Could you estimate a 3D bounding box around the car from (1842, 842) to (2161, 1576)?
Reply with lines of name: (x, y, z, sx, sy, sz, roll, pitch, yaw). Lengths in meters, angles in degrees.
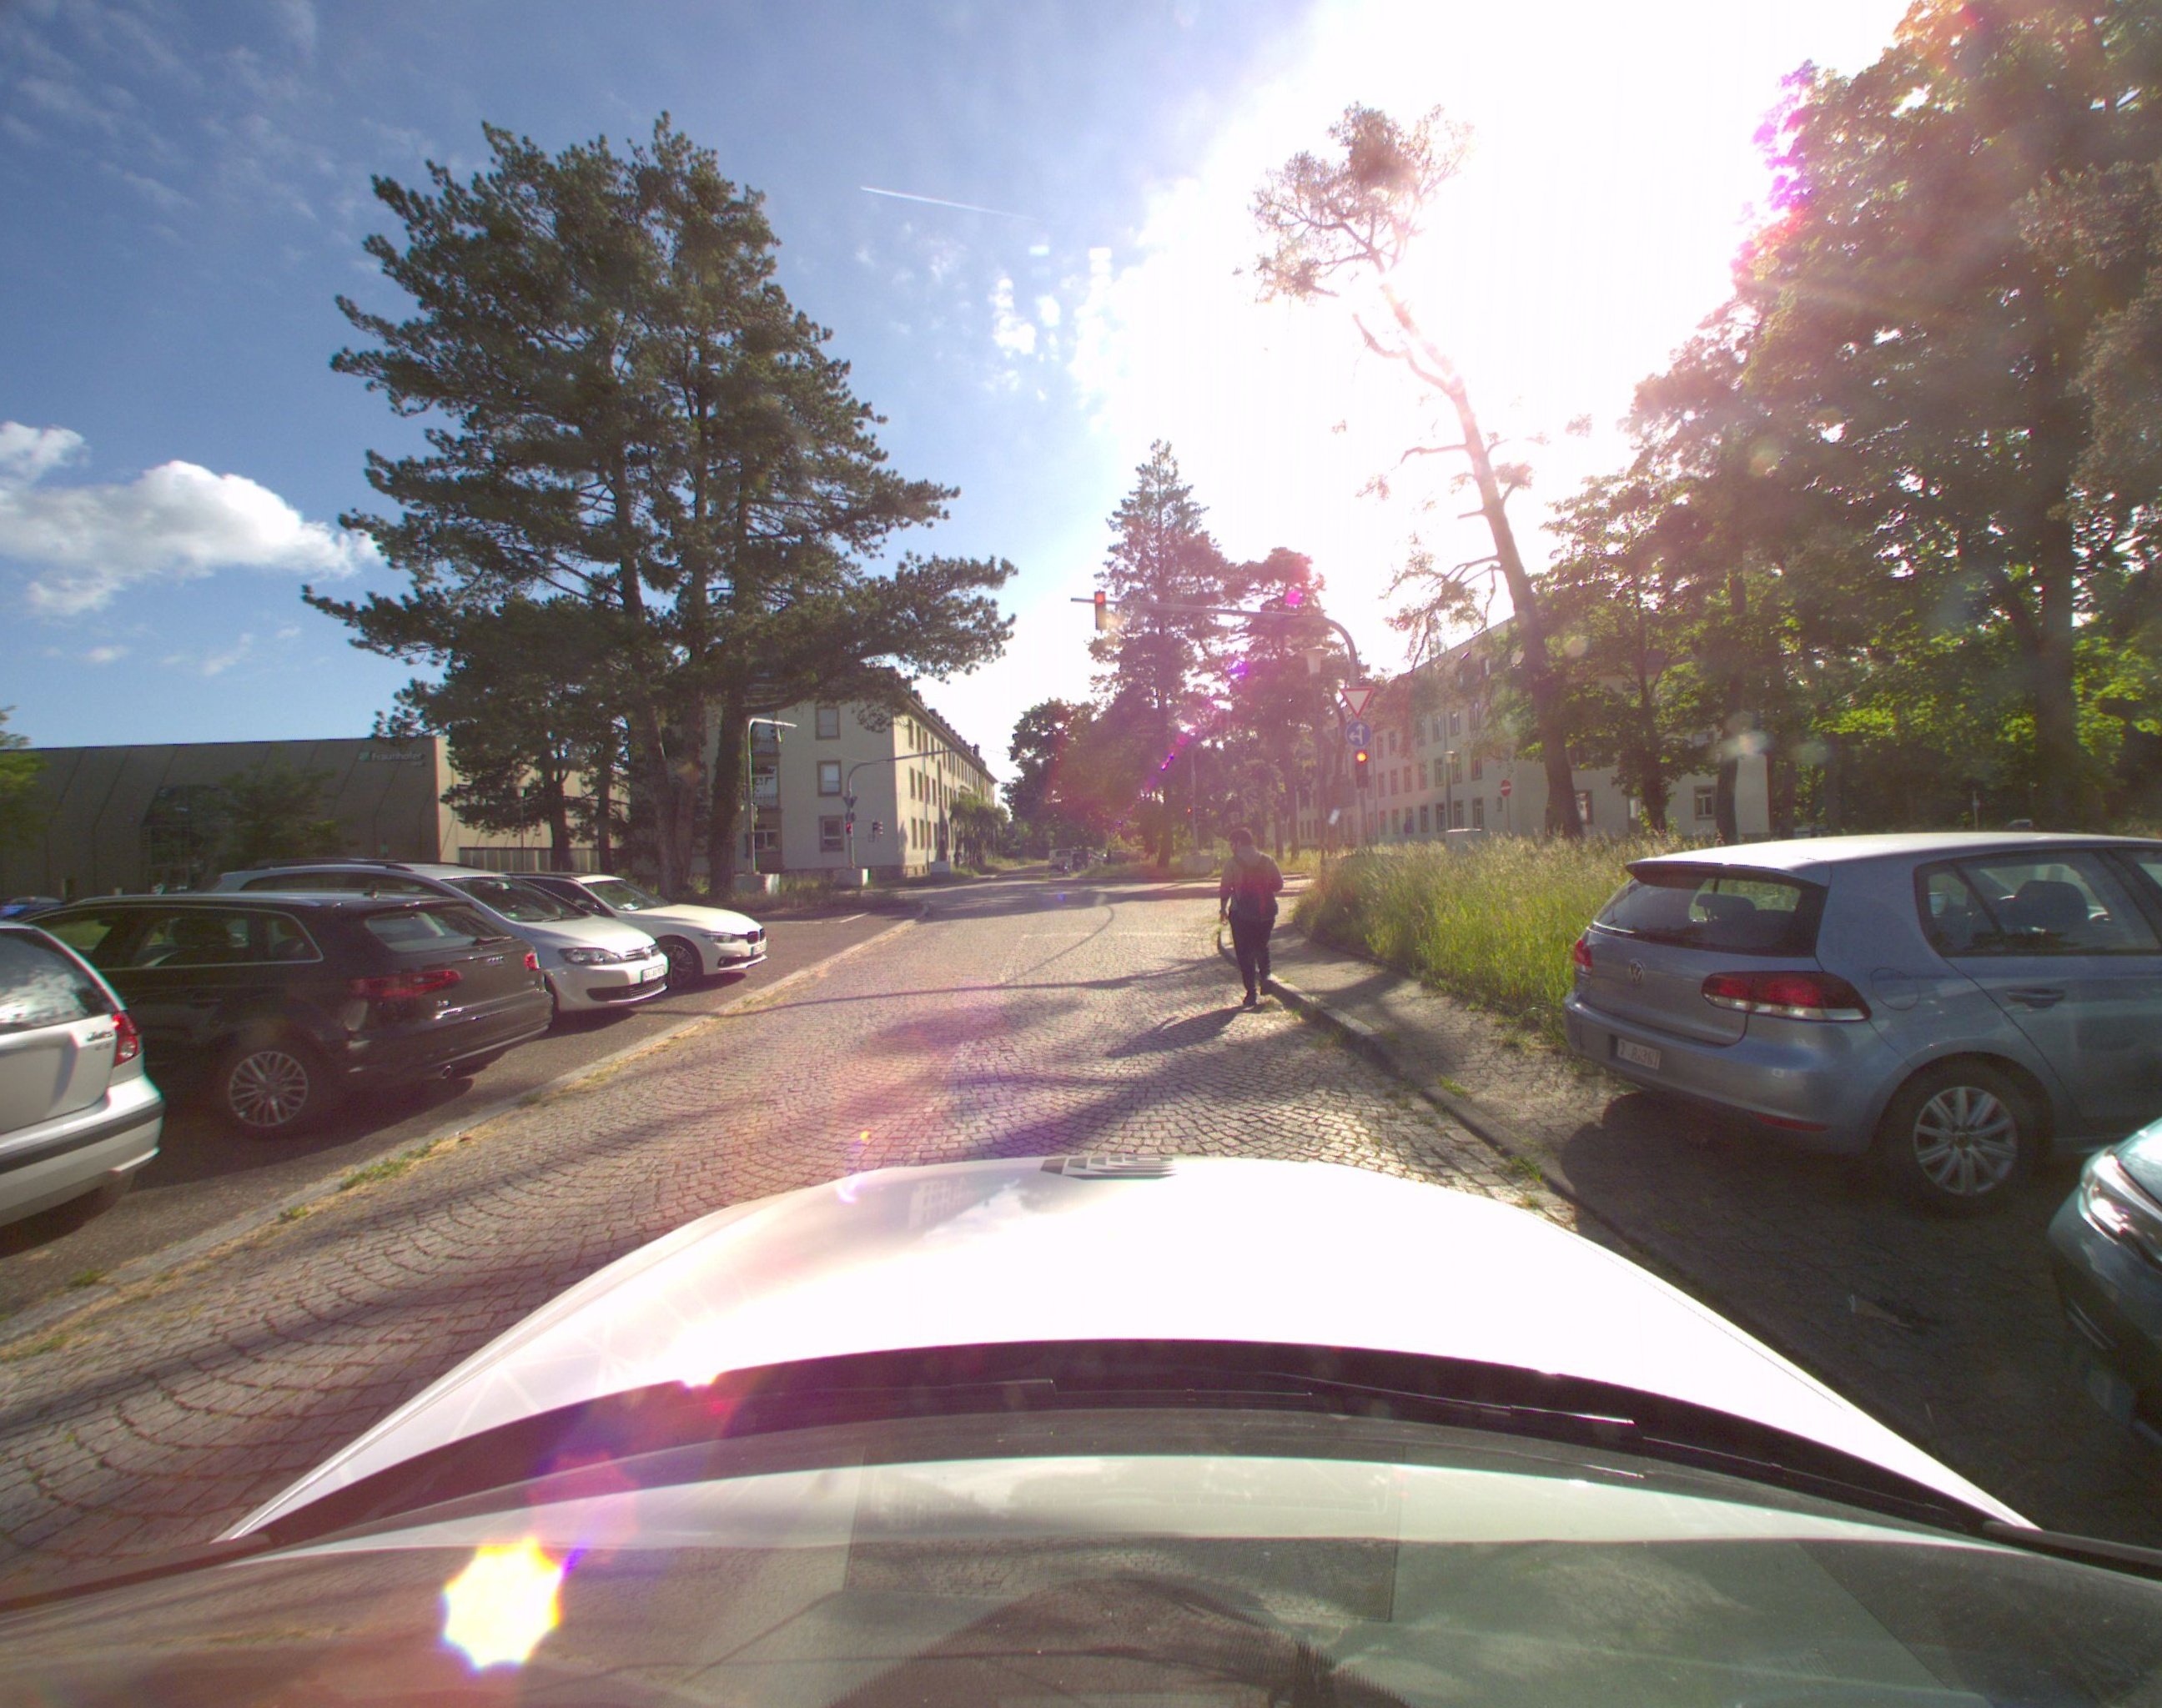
car: (4.494, 0.593, 1.472, 4.610, 1.455, 1.868, -4, 0, -4)

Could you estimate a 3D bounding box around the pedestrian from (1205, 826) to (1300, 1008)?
pedestrian: (1.706, 0.598, 8.218, 0.751, 1.725, 0.828, -1, 0, -1)

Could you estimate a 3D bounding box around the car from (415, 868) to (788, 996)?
car: (-6.251, 0.968, 10.918, 3.970, 1.496, 1.774, 0, 0, 3)

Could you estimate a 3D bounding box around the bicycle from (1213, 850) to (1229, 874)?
bicycle: (7.057, 0.391, 41.117, 0.717, 1.115, 2.590, -2, 0, 9)

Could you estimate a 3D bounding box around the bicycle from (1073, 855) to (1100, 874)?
bicycle: (0.374, 0.679, 53.395, 1.724, 1.112, 0.483, -2, 0, -5)

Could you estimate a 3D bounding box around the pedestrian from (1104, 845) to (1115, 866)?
pedestrian: (2.425, 0.132, 69.220, 0.759, 1.783, 0.682, -2, 0, -9)

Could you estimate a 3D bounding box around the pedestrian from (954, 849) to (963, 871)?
pedestrian: (-9.985, 0.520, 66.242, 0.608, 1.752, 0.627, -2, 0, -14)

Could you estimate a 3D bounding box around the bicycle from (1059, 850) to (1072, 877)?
bicycle: (-0.958, 0.573, 49.754, 0.751, 1.580, 2.535, -2, 0, -1)

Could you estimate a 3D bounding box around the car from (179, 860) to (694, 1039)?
car: (-6.309, 0.877, 8.337, 3.870, 1.615, 1.659, 0, 0, -3)

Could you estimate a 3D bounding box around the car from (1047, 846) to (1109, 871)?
car: (-0.260, 0.386, 70.722, 5.068, 1.918, 1.993, -2, 0, -11)

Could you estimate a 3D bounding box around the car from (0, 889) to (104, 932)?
car: (-49.111, 2.637, 38.072, 1.858, 1.778, 4.004, -2, 0, 2)

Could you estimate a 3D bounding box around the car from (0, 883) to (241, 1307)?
car: (-5.812, 0.900, 2.918, 3.678, 1.527, 1.697, 0, 0, -4)

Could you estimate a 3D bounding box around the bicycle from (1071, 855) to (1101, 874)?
bicycle: (0.313, 0.683, 52.848, 1.831, 1.112, 0.494, -2, 0, -5)

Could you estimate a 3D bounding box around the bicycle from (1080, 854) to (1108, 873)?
bicycle: (0.862, 0.621, 54.104, 1.724, 1.164, 0.560, -2, 0, -5)

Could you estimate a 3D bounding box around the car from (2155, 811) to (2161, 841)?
car: (55.857, -1.488, 40.073, 3.622, 1.497, 1.767, -2, 0, 1)

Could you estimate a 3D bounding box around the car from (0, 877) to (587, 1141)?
car: (-5.900, 0.939, 5.577, 3.927, 1.445, 1.689, 1, 0, -3)

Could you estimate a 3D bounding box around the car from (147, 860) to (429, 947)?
car: (-17.292, 1.029, 17.947, 4.131, 1.608, 2.009, -2, 0, 0)

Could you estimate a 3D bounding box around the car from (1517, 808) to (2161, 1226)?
car: (4.447, 0.583, 4.011, 3.663, 1.443, 1.664, -4, 0, -1)

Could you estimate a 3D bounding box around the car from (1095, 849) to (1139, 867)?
car: (3.254, 0.360, 74.676, 3.742, 1.580, 1.736, -2, 0, -9)

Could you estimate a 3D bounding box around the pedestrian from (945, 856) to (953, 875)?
pedestrian: (-10.781, 0.939, 66.443, 0.606, 1.559, 0.544, -2, 0, -8)

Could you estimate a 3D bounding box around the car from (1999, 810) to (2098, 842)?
car: (56.497, -1.616, 47.616, 3.622, 1.671, 1.767, -2, 0, 1)
